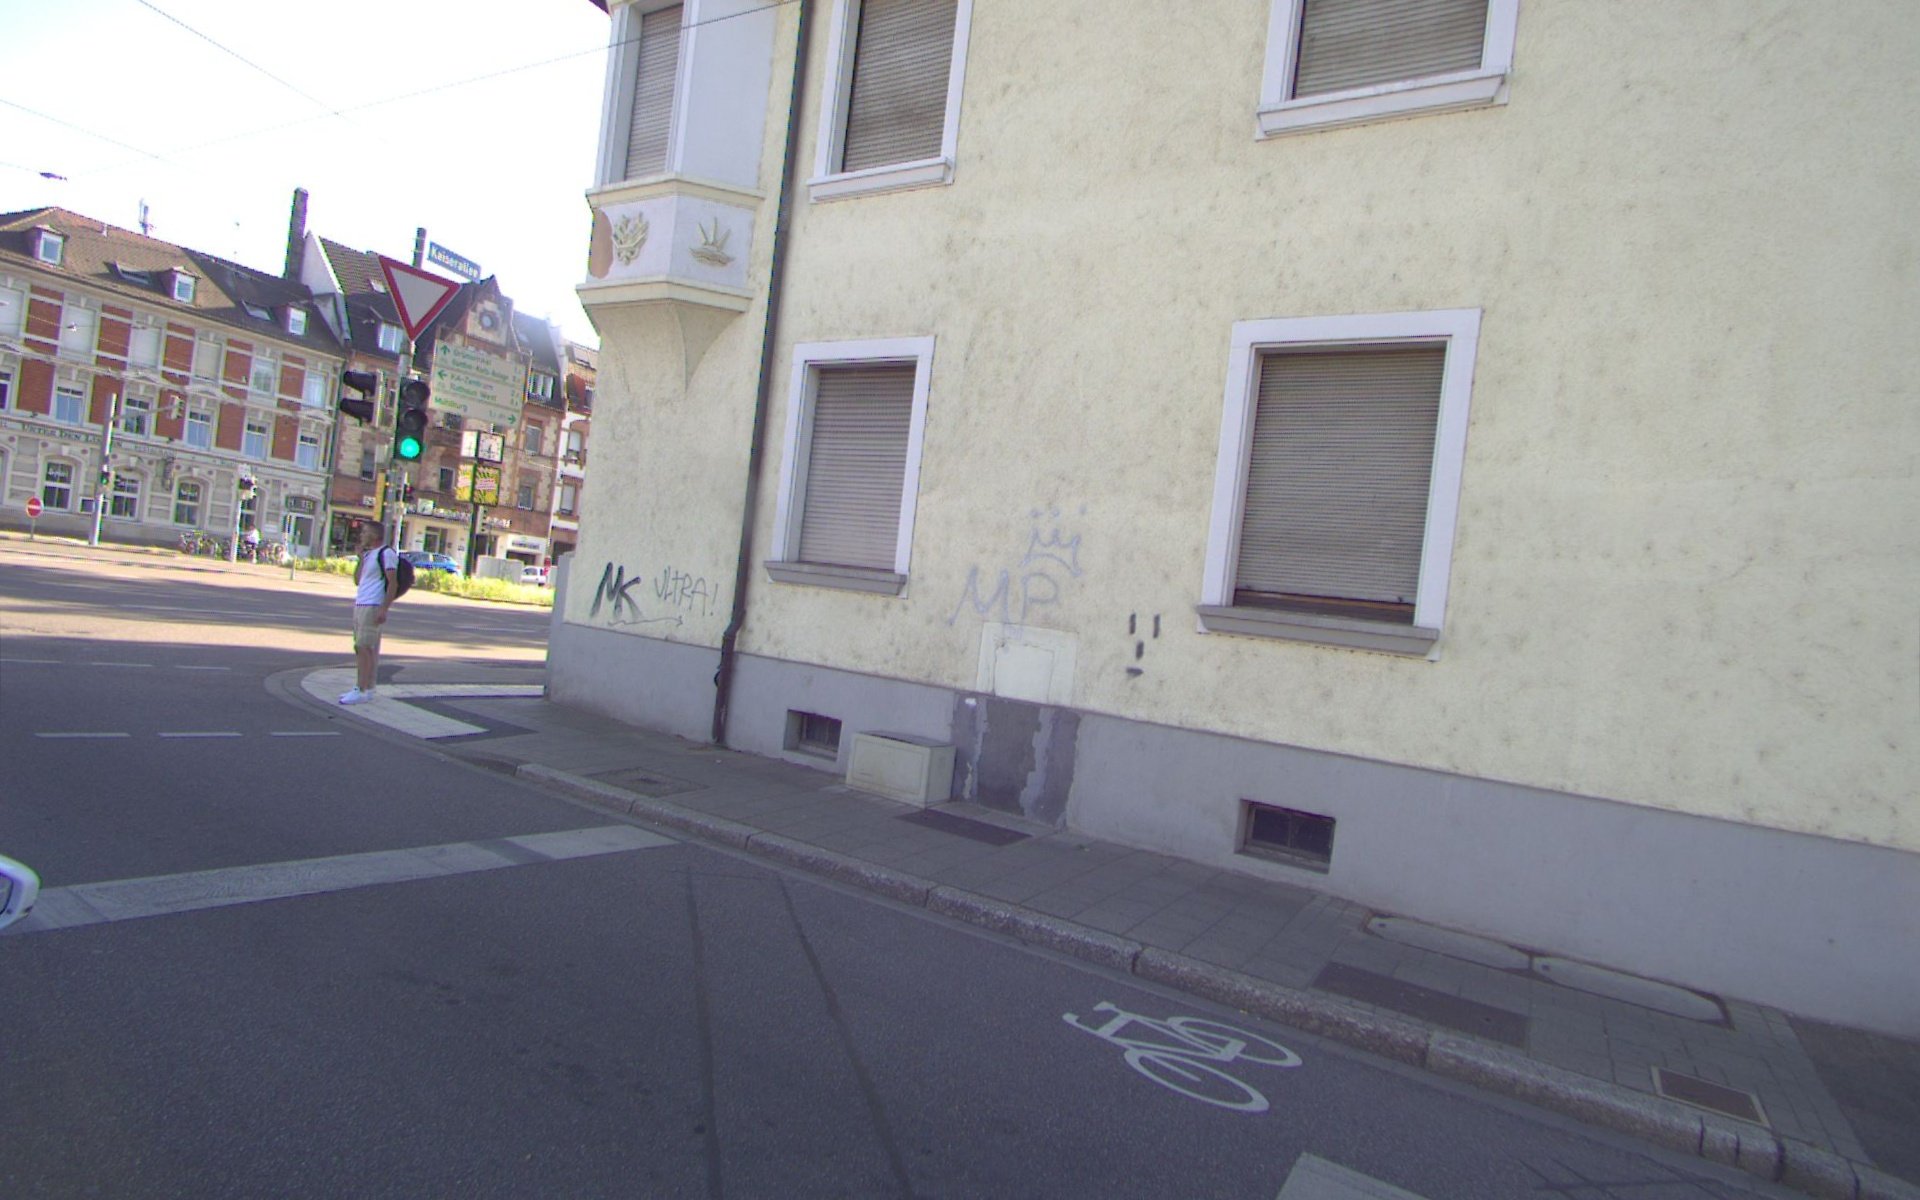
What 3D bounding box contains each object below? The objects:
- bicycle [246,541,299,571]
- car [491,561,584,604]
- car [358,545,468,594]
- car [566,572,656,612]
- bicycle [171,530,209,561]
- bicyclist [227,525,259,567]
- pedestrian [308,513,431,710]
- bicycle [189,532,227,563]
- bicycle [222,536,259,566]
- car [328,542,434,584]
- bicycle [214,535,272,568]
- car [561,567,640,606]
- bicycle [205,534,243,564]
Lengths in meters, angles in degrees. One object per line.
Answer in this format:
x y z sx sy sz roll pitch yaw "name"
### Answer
-32.885 -2.097 48.174 0.667 1.205 1.968 7 -1 20 "bicycle"
-21.924 -0.907 52.342 1.922 1.688 3.993 7 -1 31 "car"
-25.407 -1.386 46.839 1.922 1.688 3.993 7 -1 31 "car"
-19.510 -0.414 56.430 1.922 1.688 4.480 7 -1 31 "car"
-34.888 -2.485 45.580 1.935 1.205 0.678 7 0 33 "bicycle"
-32.380 -2.438 45.441 0.592 1.785 0.873 7 0 34 "bicyclist"
-5.622 0.099 9.608 0.661 1.764 0.689 5 2 2 "pedestrian"
-34.548 -2.401 46.194 1.935 1.205 0.678 7 0 33 "bicycle"
-33.850 -2.320 47.322 1.935 1.205 0.678 7 0 33 "bicycle"
-27.832 -1.746 48.476 1.815 1.429 3.993 7 -1 31 "car"
-32.399 -2.196 45.465 0.592 1.205 1.962 7 -1 34 "bicycle"
-23.243 -0.848 65.193 1.922 1.988 4.411 7 -1 31 "car"
-34.208 -2.362 46.750 1.935 1.205 0.678 7 0 33 "bicycle"
